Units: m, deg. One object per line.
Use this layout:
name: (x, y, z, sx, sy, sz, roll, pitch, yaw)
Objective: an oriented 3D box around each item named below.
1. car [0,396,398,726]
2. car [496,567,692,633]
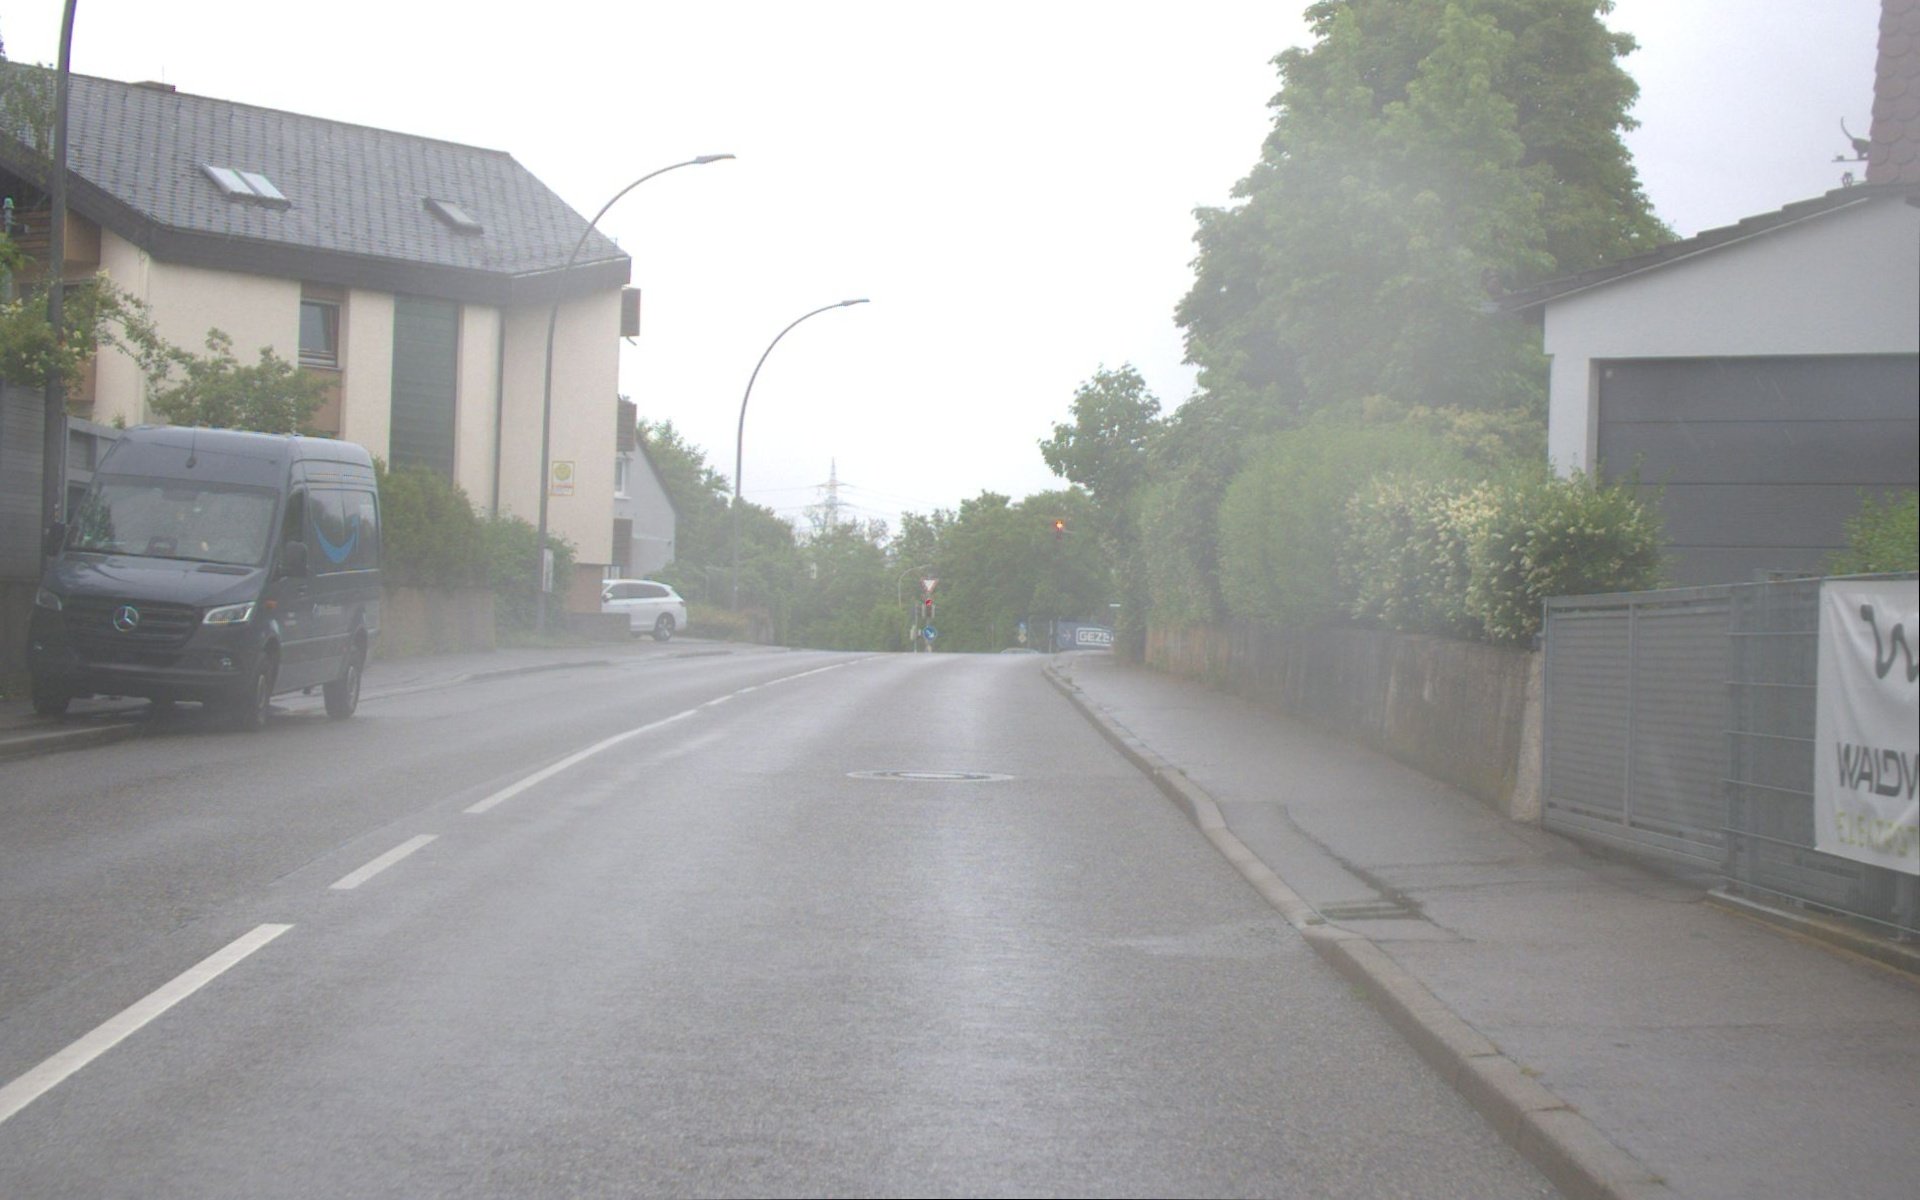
car: (-6.798, -0.345, 31.383, 2.094, 2.640, 5.918, 3, 0, 2)
car: (-8.862, 0.012, 83.613, 1.905, 1.472, 4.871, 3, 1, 36)
